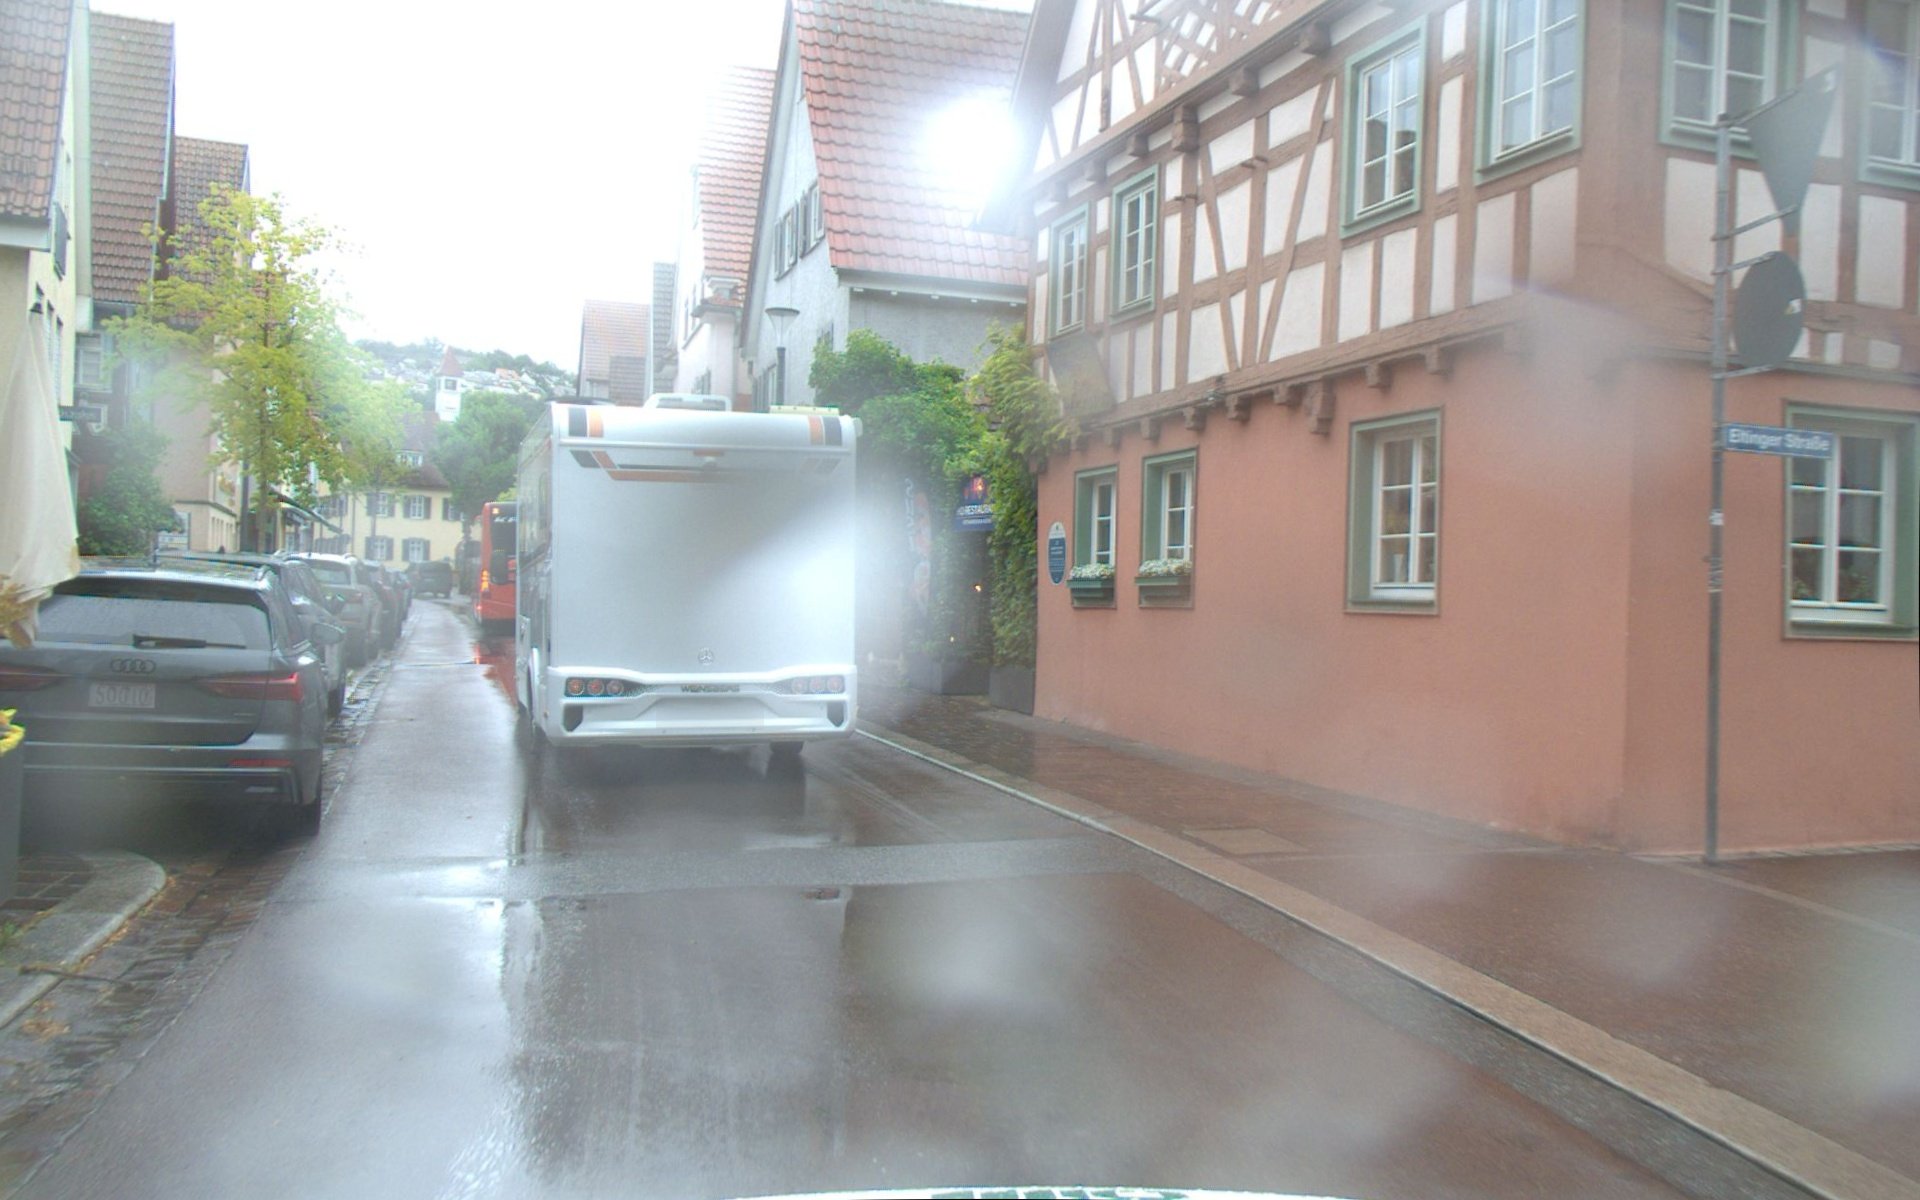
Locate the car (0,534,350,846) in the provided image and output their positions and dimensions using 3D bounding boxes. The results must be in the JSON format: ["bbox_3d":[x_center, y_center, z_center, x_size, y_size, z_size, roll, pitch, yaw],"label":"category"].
[{"bbox_3d":[-4.771,0.407,10.109,1.776,1.457,4.597,3,0,-22],"label":"car"}]

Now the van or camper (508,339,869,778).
[{"bbox_3d":[-2.683,-0.249,14.579,2.289,2.970,6.362,1,-1,-17],"label":"van or camper"}]

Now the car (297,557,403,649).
[{"bbox_3d":[-12.184,0.068,33.249,1.805,1.704,4.516,1,-1,-18],"label":"car"}]

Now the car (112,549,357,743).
[{"bbox_3d":[-6.655,0.392,15.538,1.567,1.573,3.959,1,-1,-16],"label":"car"}]

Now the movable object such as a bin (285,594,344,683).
[{"bbox_3d":[-8.138,0.486,20.875,0.611,1.098,0.722,1,-1,-16],"label":"movable object such as a bin"}]

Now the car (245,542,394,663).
[{"bbox_3d":[-10.092,0.052,26.356,1.743,1.704,4.459,2,-1,-16],"label":"car"}]

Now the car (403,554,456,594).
[{"bbox_3d":[-28.805,-1.375,89.763,1.972,2.049,3.961,1,-1,-29],"label":"car"}]

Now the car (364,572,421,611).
[{"bbox_3d":[-23.896,-0.377,69.557,1.967,1.497,3.972,2,0,-23],"label":"car"}]

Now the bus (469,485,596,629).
[{"bbox_3d":[-10.805,-0.968,41.415,2.601,3.283,6.567,1,-1,-19],"label":"bus"}]

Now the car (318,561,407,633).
[{"bbox_3d":[-13.983,-0.059,38.889,1.805,1.579,4.259,1,-1,-18],"label":"car"}]

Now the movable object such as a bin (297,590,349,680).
[{"bbox_3d":[-8.802,0.481,22.865,0.592,1.222,0.521,1,-1,-15],"label":"movable object such as a bin"}]
